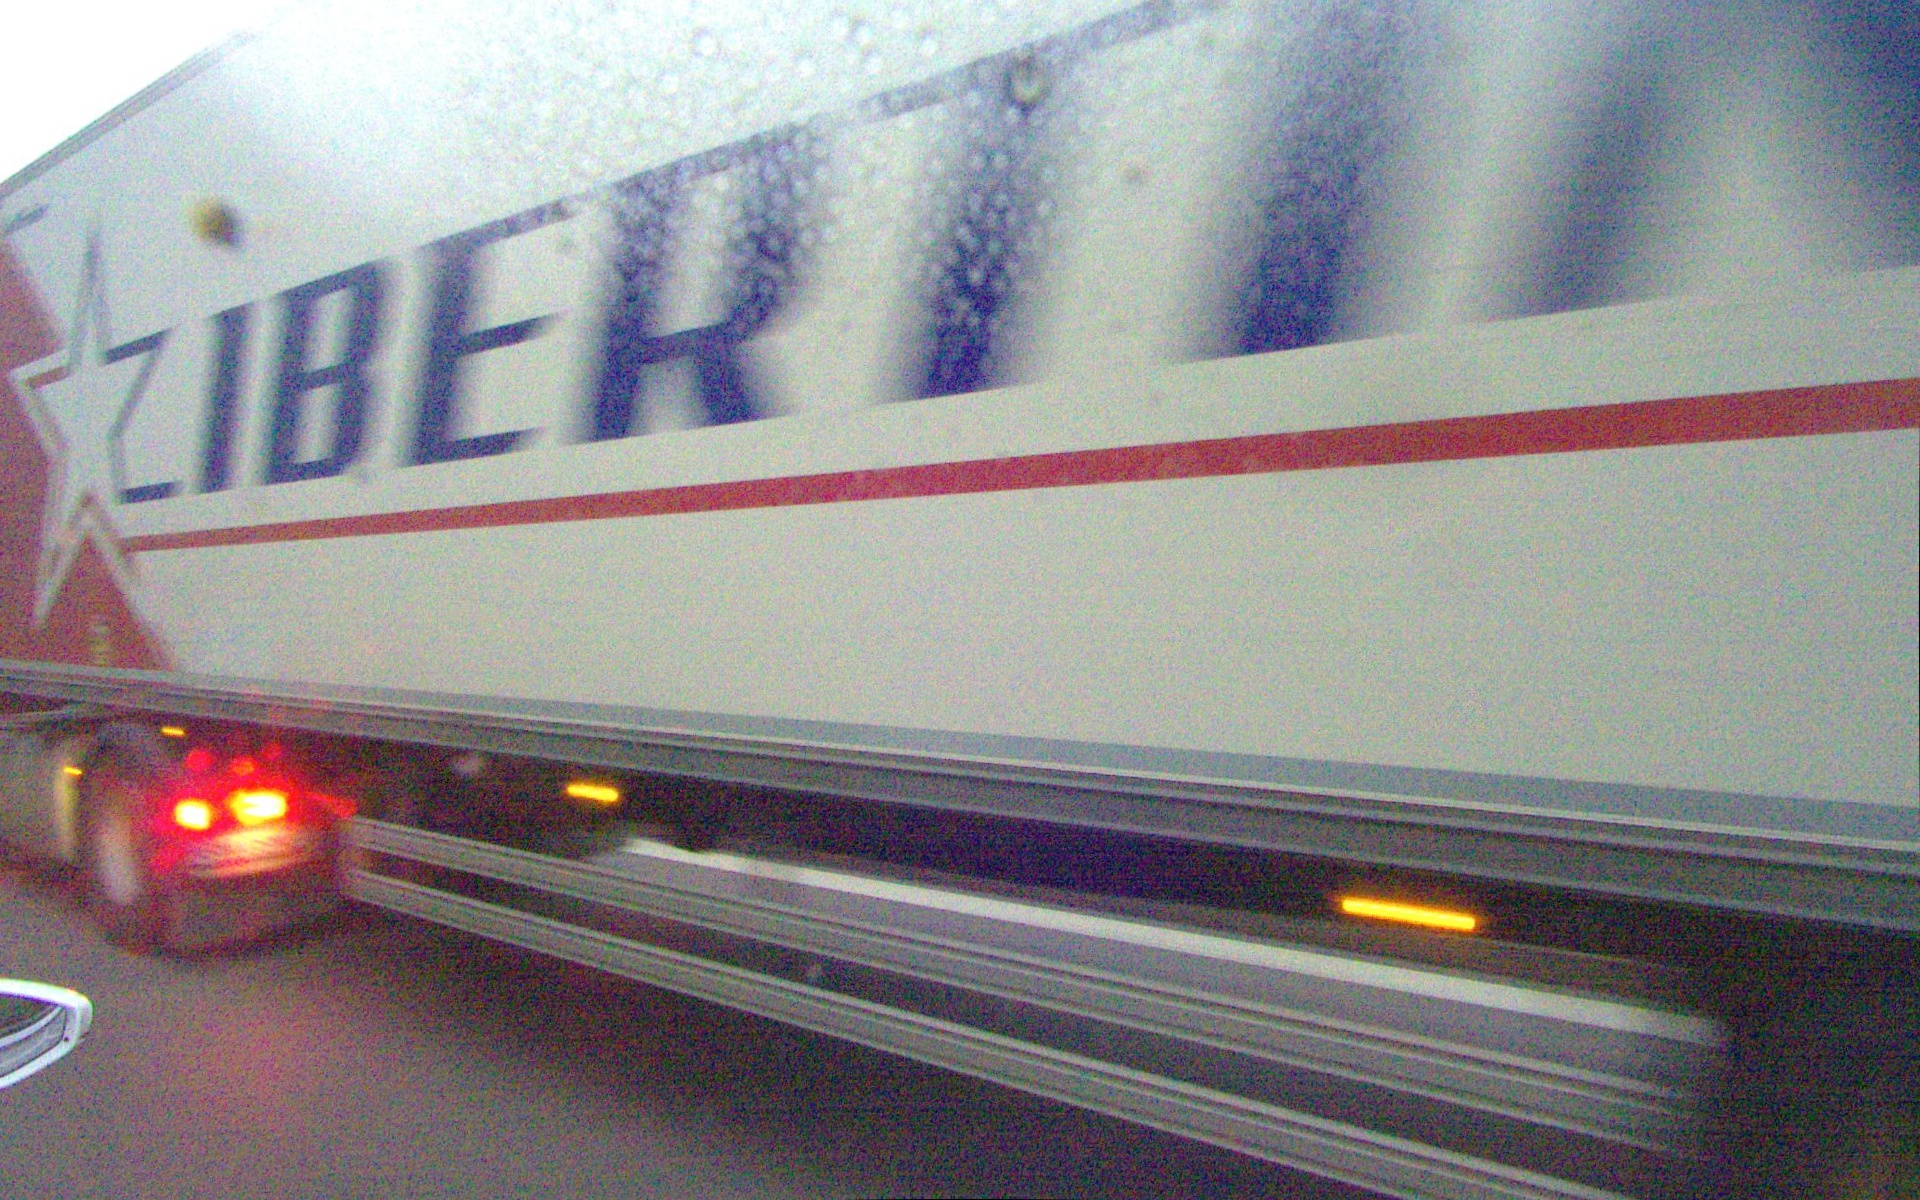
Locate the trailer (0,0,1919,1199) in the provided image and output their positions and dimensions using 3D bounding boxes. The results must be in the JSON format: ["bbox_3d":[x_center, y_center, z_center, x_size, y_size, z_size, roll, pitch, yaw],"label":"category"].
[{"bbox_3d":[0.050,-0.405,3.889,14.011,4.022,3.091,-1,0,32],"label":"trailer"}]

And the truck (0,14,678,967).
[{"bbox_3d":[-5.464,-0.379,7.426,6.356,4.197,3.064,-1,-2,33],"label":"truck"}]
